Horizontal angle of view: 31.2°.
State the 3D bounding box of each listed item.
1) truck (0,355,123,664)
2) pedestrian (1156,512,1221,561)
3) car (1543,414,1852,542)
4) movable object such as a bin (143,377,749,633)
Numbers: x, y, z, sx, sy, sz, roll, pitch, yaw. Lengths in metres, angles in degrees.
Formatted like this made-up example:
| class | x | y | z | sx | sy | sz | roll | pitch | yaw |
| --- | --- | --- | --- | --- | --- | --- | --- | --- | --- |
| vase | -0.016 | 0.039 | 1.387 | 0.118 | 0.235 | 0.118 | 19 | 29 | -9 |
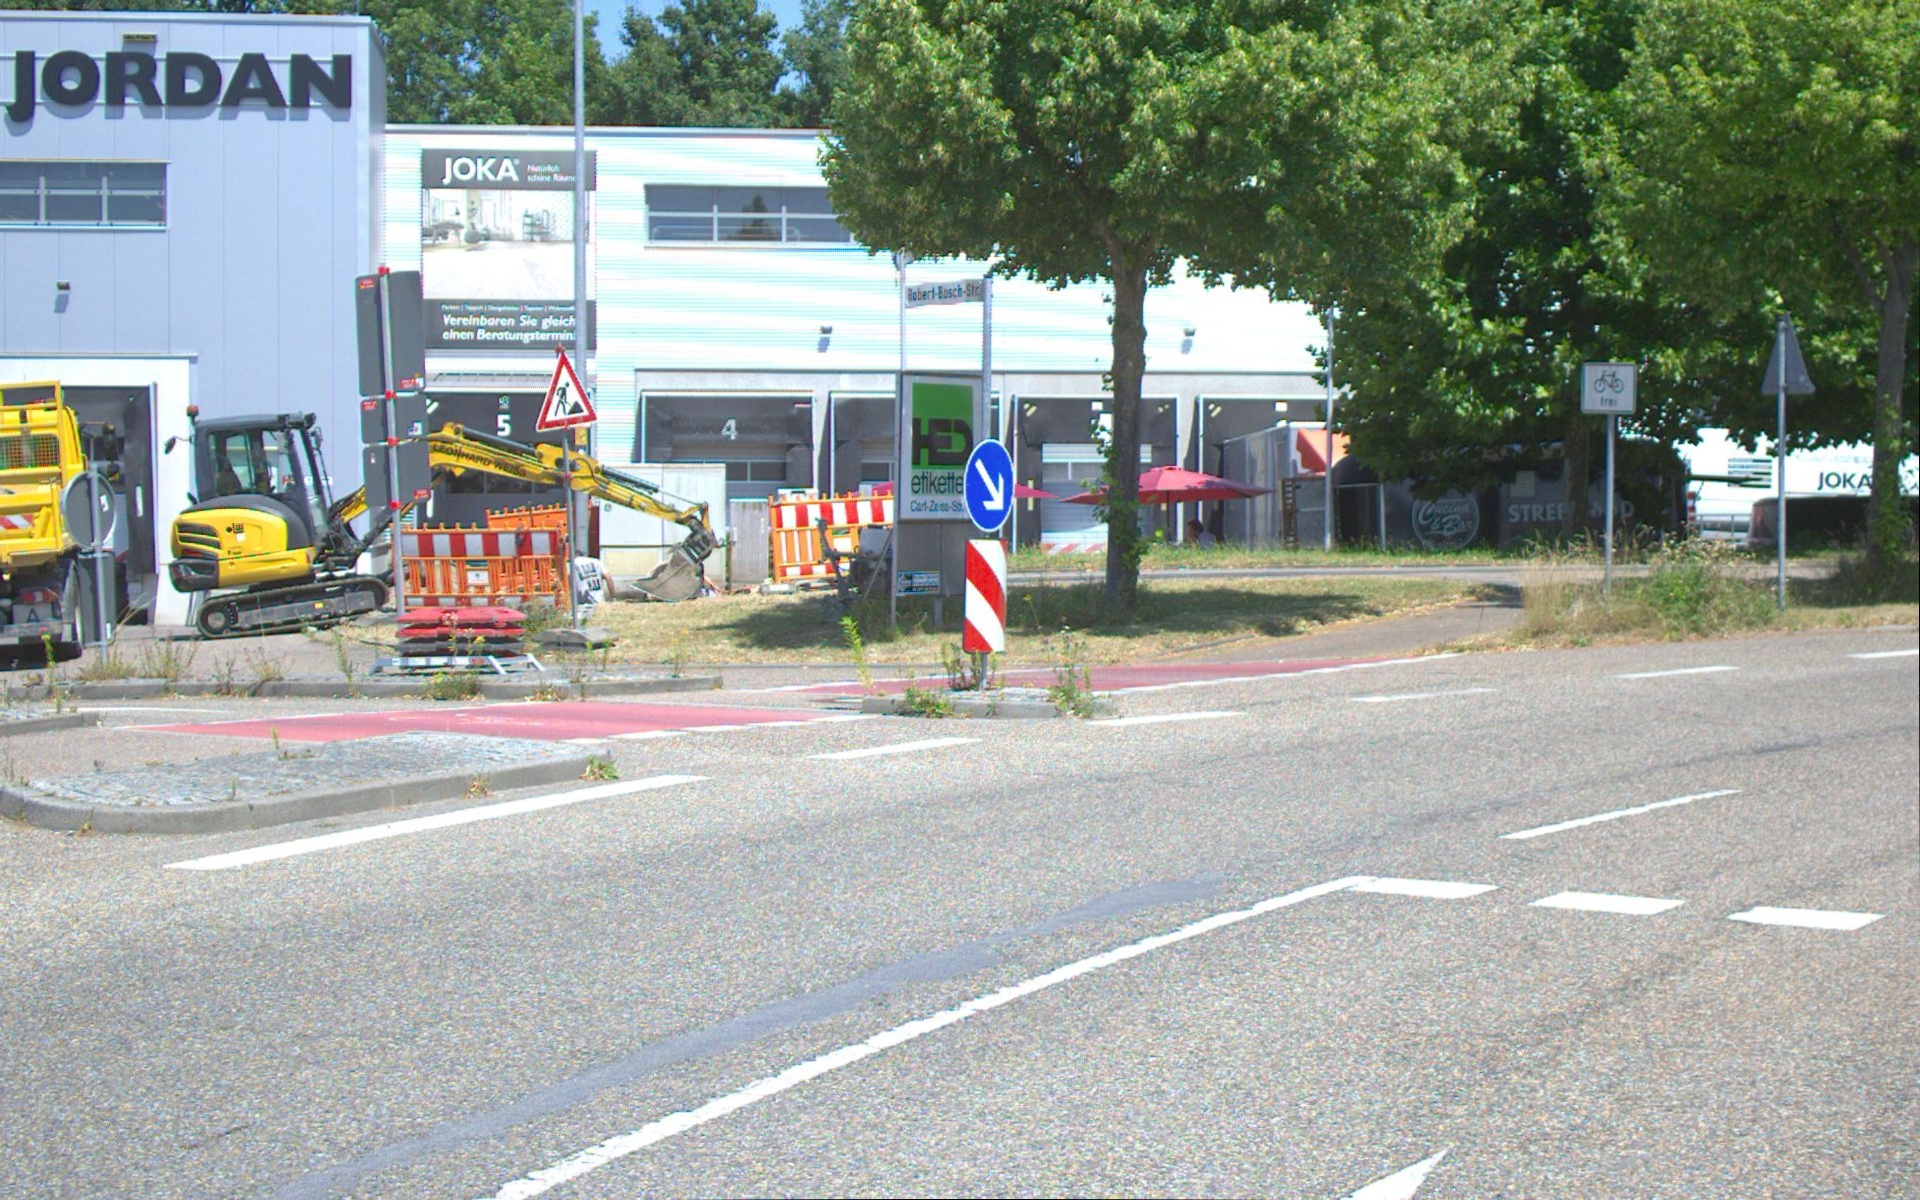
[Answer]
| class | x | y | z | sx | sy | sz | roll | pitch | yaw |
| --- | --- | --- | --- | --- | --- | --- | --- | --- | --- |
| truck | -10.932 | -1.081 | 38.202 | 2.586 | 3.125 | 6.427 | -3 | 4 | -10 |
| pedestrian | 3.354 | -0.928 | 50.421 | 0.864 | 0.693 | 0.407 | -1 | 2 | 17 |
| car | 10.653 | -1.760 | 49.823 | 3.986 | 1.722 | 1.841 | -2 | 1 | -4 |
| movable object such as a bin | -5.788 | -1.083 | 39.370 | 6.556 | 2.572 | 2.000 | -3 | 1 | -1 |
